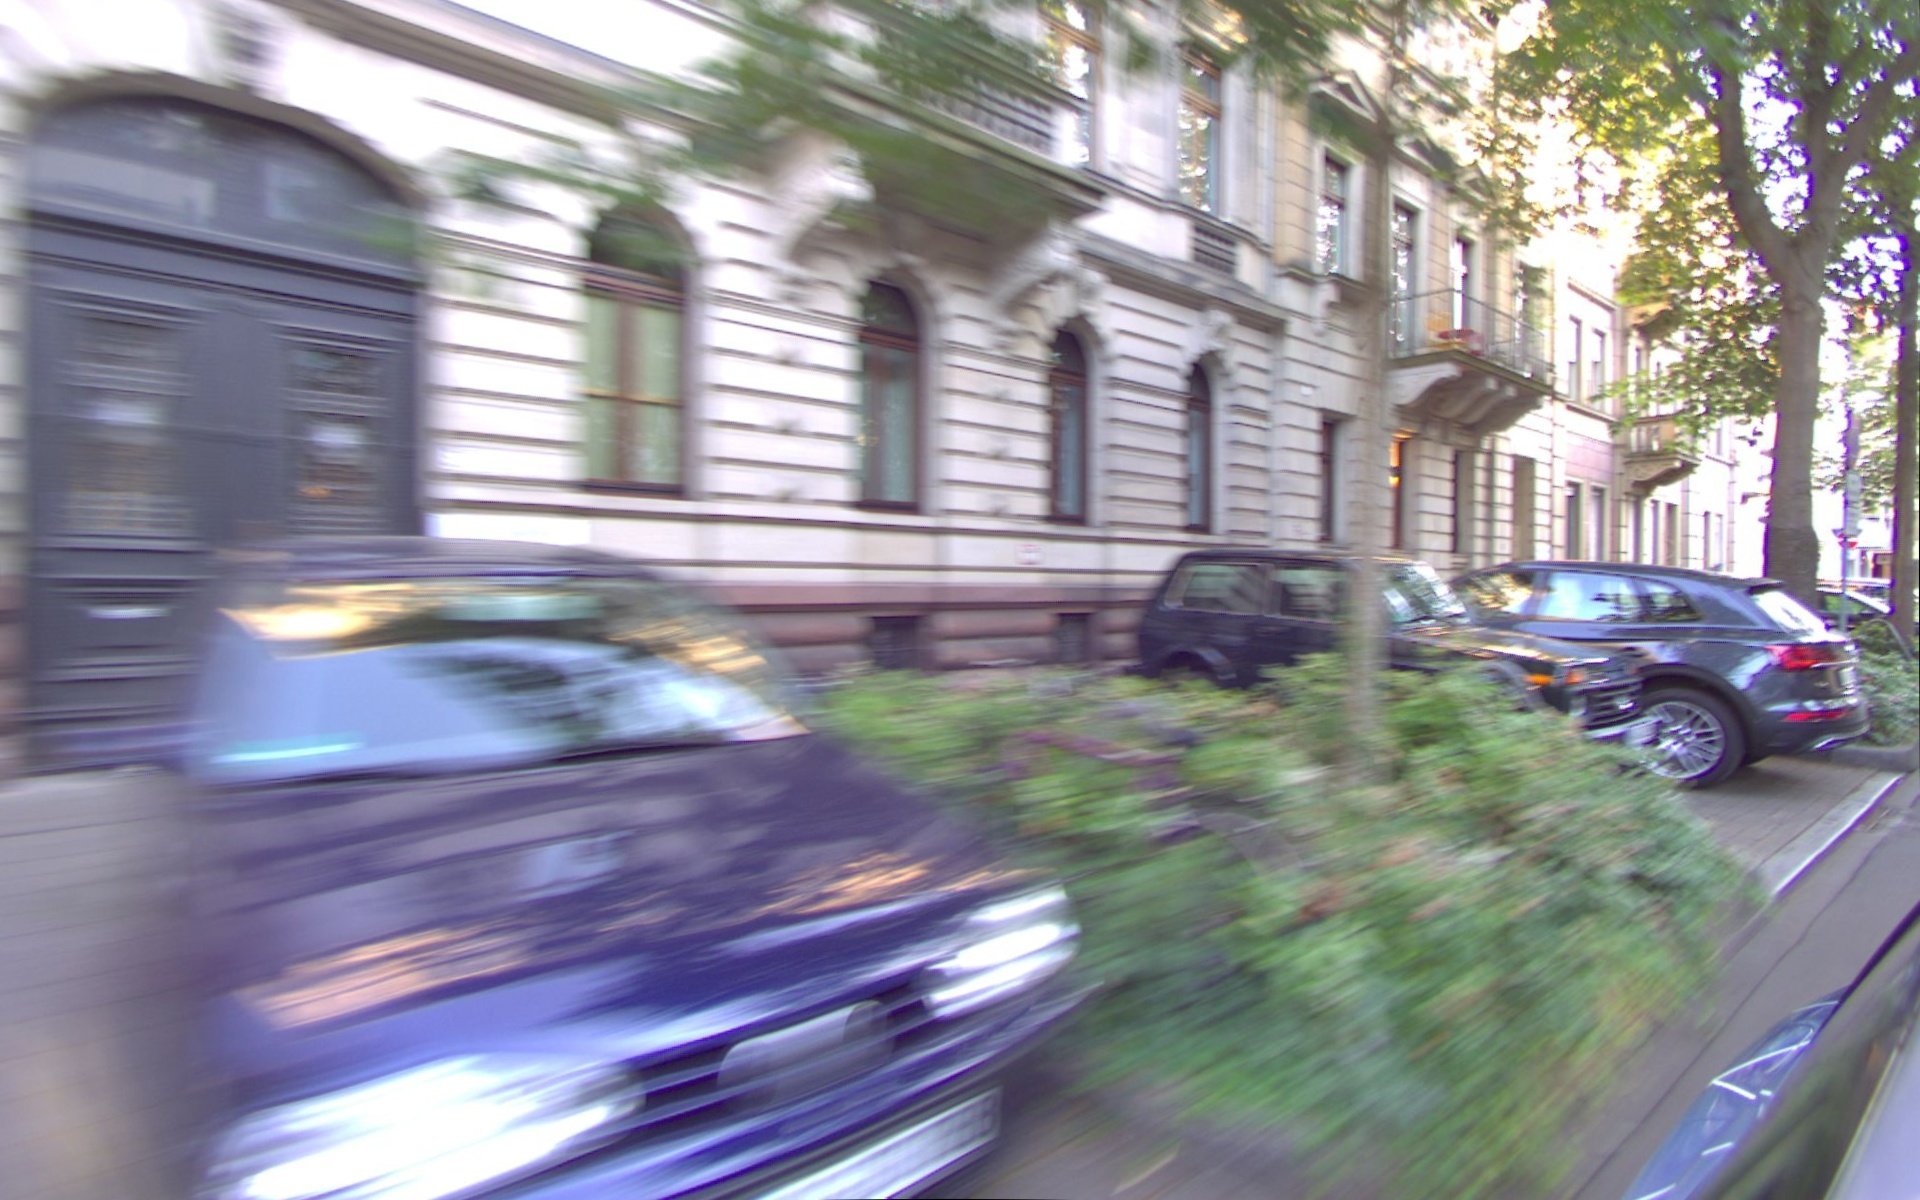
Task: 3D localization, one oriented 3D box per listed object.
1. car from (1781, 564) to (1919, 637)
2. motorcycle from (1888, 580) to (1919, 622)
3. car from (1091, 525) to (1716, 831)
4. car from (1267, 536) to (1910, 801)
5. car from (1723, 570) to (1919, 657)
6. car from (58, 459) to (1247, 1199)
[{"bbox_3d":[23.042,0.047,24.567,1.830,1.580,4.431,1,4,-34],"label":"car"},{"bbox_3d":[36.259,0.018,37.782,2.231,1.565,0.764,-1,0,34],"label":"motorcycle"},{"bbox_3d":[3.089,0.374,7.729,1.734,1.708,4.016,0,2,-40],"label":"car"},{"bbox_3d":[5.226,0.335,8.970,1.934,1.738,4.449,-1,3,-40],"label":"car"},{"bbox_3d":[17.585,0.252,19.838,1.751,1.445,3.873,0,4,-42],"label":"car"},{"bbox_3d":[-1.488,0.478,3.120,1.822,1.499,4.234,0,4,-40],"label":"car"}]
